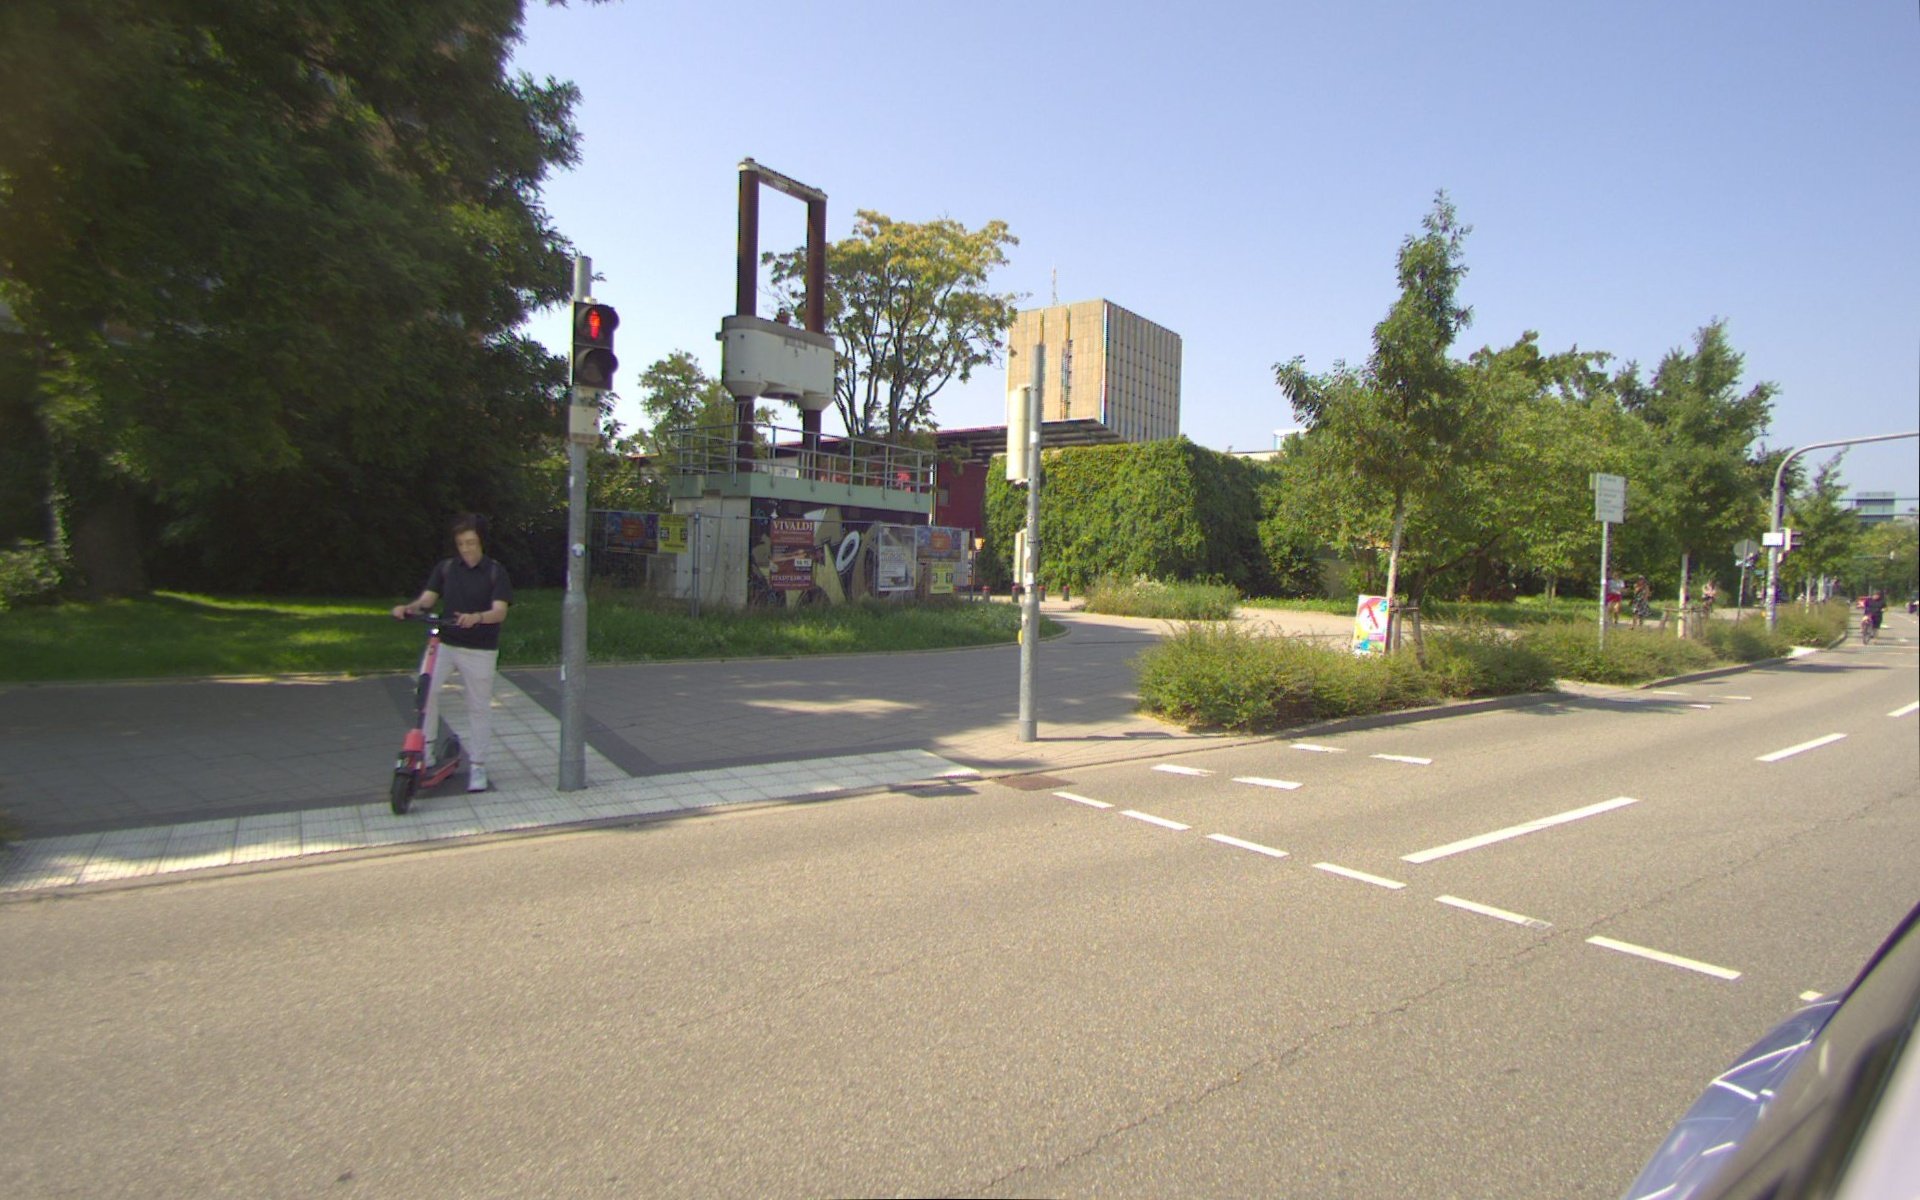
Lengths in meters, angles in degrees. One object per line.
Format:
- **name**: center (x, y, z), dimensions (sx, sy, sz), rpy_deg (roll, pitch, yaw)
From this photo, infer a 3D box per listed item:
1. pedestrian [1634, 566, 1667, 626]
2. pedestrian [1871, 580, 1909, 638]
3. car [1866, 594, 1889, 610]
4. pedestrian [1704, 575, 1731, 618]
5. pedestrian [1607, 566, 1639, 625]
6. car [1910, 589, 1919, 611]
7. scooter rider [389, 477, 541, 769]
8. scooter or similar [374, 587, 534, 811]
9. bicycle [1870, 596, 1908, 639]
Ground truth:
- **pedestrian**: center (21.192, -0.118, 31.040), dimensions (0.692, 1.793, 0.578), rpy_deg (3, 2, 43)
- **pedestrian**: center (28.153, 0.266, 30.643), dimensions (0.778, 1.689, 0.540), rpy_deg (3, 2, 43)
- **car**: center (108.198, 0.259, 119.356), dimensions (1.993, 1.801, 3.939), rpy_deg (3, 2, 42)
- **pedestrian**: center (32.082, -0.159, 42.852), dimensions (0.791, 1.790, 0.814), rpy_deg (3, 2, 43)
- **pedestrian**: center (20.628, -0.141, 31.488), dimensions (0.692, 1.793, 0.578), rpy_deg (3, 2, 43)
- **car**: center (81.200, 0.007, 84.920), dimensions (1.993, 1.801, 3.939), rpy_deg (3, 2, 42)
- **scooter rider**: center (-3.171, 0.127, 6.549), dimensions (0.674, 1.760, 0.807), rpy_deg (1, 2, -11)
- **scooter or similar**: center (-3.247, 0.574, 6.601), dimensions (0.573, 1.249, 1.371), rpy_deg (1, 3, -11)
- **bicycle**: center (28.172, 0.503, 30.687), dimensions (0.784, 1.227, 1.761), rpy_deg (3, 2, 43)
